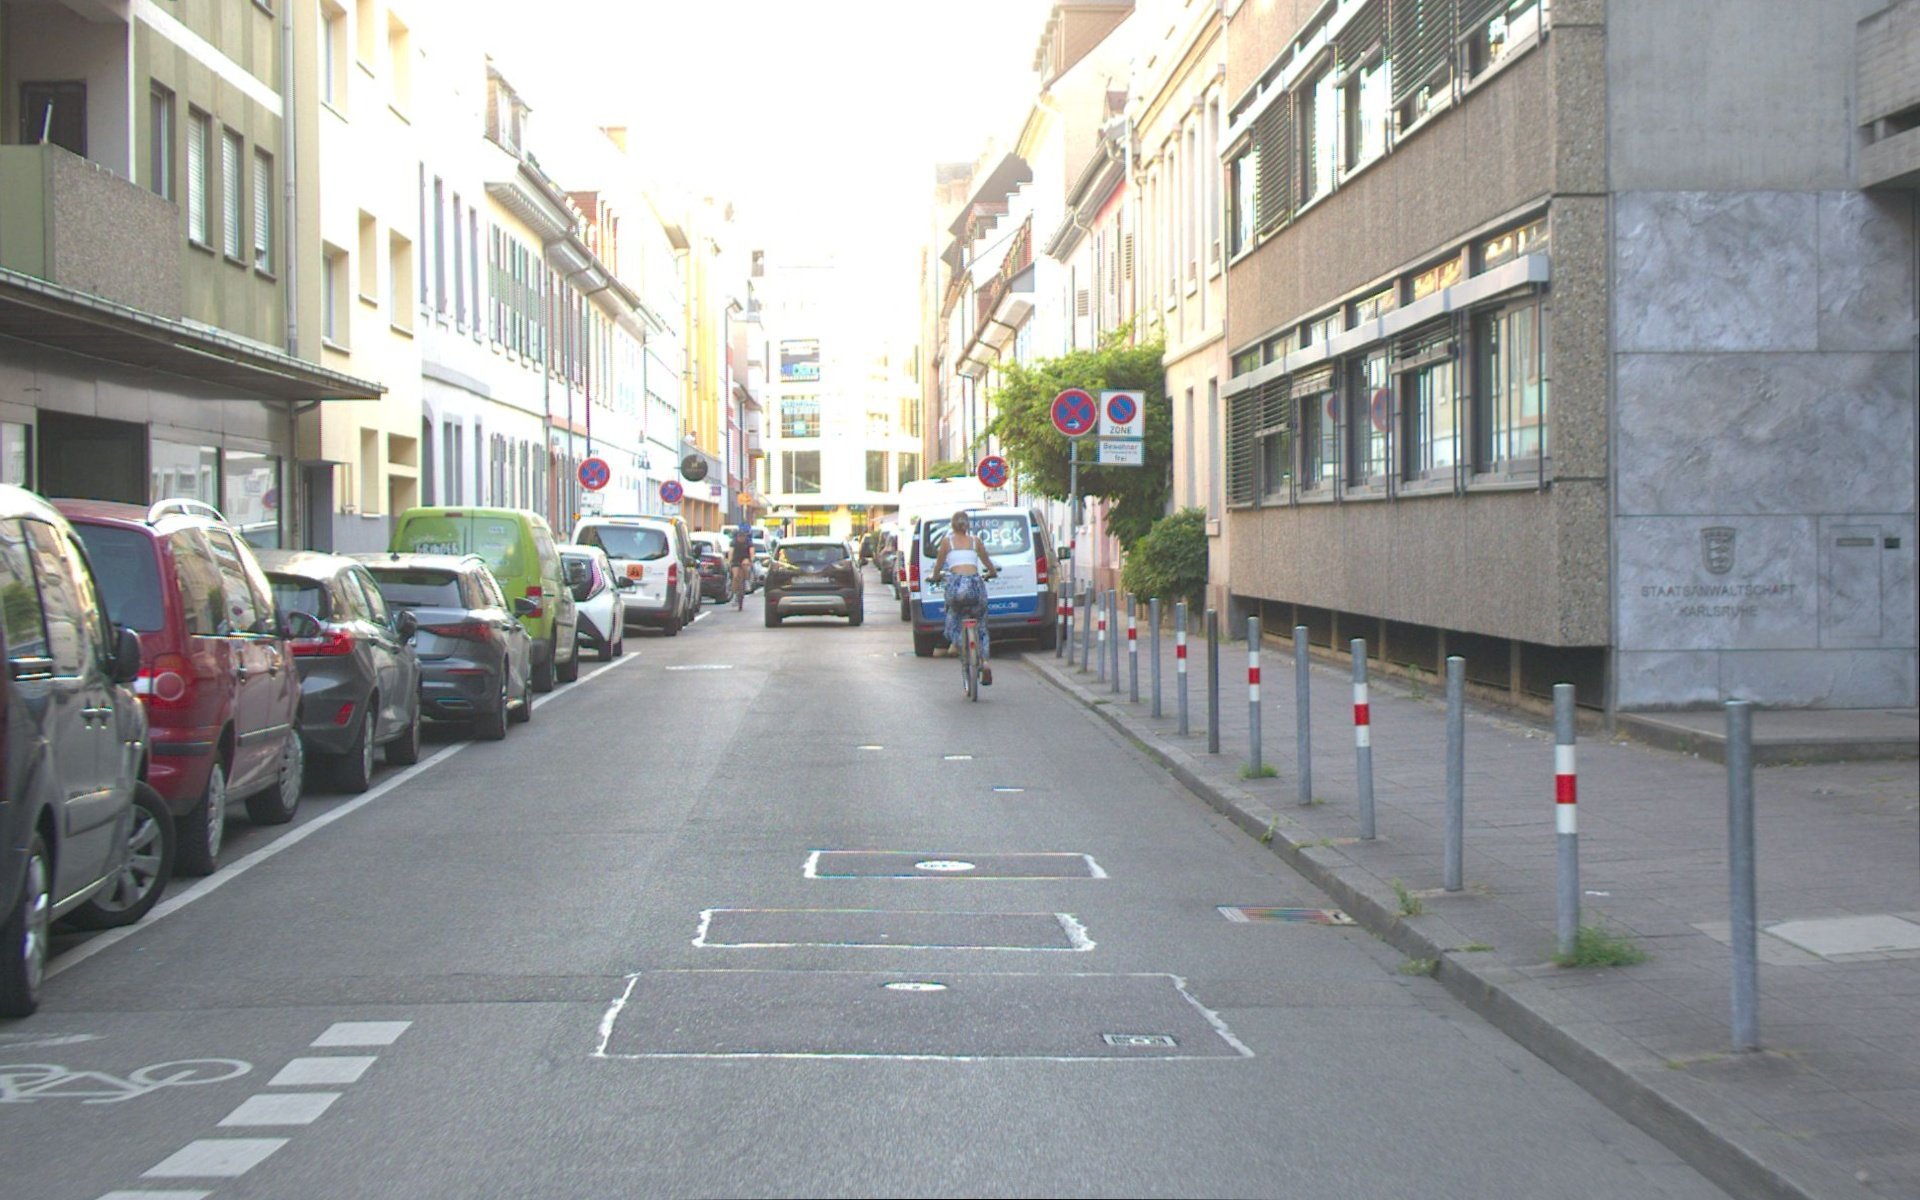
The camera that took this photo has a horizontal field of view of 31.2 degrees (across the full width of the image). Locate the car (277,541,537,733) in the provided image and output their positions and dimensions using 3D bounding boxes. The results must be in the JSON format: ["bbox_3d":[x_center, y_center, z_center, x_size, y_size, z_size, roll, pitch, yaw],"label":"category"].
[{"bbox_3d":[-4.326,0.242,27.382,1.624,1.411,3.981,0,1,-3],"label":"car"}]

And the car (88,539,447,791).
[{"bbox_3d":[-4.412,0.357,22.410,1.624,1.479,3.878,-1,1,-1],"label":"car"}]

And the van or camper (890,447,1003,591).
[{"bbox_3d":[-0.287,-1.556,66.553,2.050,2.628,7.063,-1,1,-1],"label":"van or camper"}]

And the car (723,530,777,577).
[{"bbox_3d":[-7.071,-1.573,115.850,1.653,1.555,3.606,1,1,-1],"label":"car"}]

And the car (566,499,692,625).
[{"bbox_3d":[-5.498,-0.665,57.635,1.862,2.007,5.107,-1,1,-3],"label":"car"}]

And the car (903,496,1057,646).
[{"bbox_3d":[0.214,-0.428,46.473,1.936,1.891,5.277,-1,1,-1],"label":"car"}]

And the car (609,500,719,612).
[{"bbox_3d":[-5.494,-0.849,64.317,1.862,2.007,4.815,-1,1,-3],"label":"car"}]

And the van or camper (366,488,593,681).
[{"bbox_3d":[-4.881,-0.192,35.419,1.772,1.842,4.179,-1,1,-1],"label":"van or camper"}]

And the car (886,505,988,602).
[{"bbox_3d":[-0.529,-1.014,74.018,1.941,1.888,5.318,-4,1,-2],"label":"car"}]

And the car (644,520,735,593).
[{"bbox_3d":[-6.372,-1.040,81.465,1.803,1.671,4.490,0,1,0],"label":"car"}]

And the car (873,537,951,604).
[{"bbox_3d":[-1.180,-0.760,86.295,1.819,1.525,5.071,-4,1,0],"label":"car"}]

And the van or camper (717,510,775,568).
[{"bbox_3d":[-7.547,-2.159,121.575,1.844,2.006,4.679,1,1,-1],"label":"van or camper"}]

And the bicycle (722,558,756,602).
[{"bbox_3d":[-4.699,-0.424,73.100,0.634,0.919,1.779,0,1,-1],"label":"bicycle"}]

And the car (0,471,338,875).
[{"bbox_3d":[-4.383,0.282,17.623,1.772,1.805,4.511,0,1,-3],"label":"car"}]

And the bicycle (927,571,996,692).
[{"bbox_3d":[0.005,0.275,32.089,0.613,1.078,1.809,0,1,-1],"label":"bicycle"}]

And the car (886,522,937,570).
[{"bbox_3d":[-1.660,-1.835,116.033,1.653,1.555,3.606,1,1,-1],"label":"car"}]

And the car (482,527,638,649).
[{"bbox_3d":[-5.173,-0.177,44.779,1.662,1.444,3.521,3,1,-2],"label":"car"}]

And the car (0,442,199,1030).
[{"bbox_3d":[-4.036,0.371,12.498,1.876,1.805,4.451,0,1,-5],"label":"car"}]

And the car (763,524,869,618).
[{"bbox_3d":[-2.585,-0.548,62.010,1.819,1.612,4.001,1,1,-2],"label":"car"}]

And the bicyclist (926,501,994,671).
[{"bbox_3d":[0.000,-0.132,32.069,0.621,1.569,0.683,0,1,0],"label":"bicyclist"}]

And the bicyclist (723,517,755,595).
[{"bbox_3d":[-4.690,-0.940,73.018,0.623,1.634,1.081,0,1,-1],"label":"bicyclist"}]
